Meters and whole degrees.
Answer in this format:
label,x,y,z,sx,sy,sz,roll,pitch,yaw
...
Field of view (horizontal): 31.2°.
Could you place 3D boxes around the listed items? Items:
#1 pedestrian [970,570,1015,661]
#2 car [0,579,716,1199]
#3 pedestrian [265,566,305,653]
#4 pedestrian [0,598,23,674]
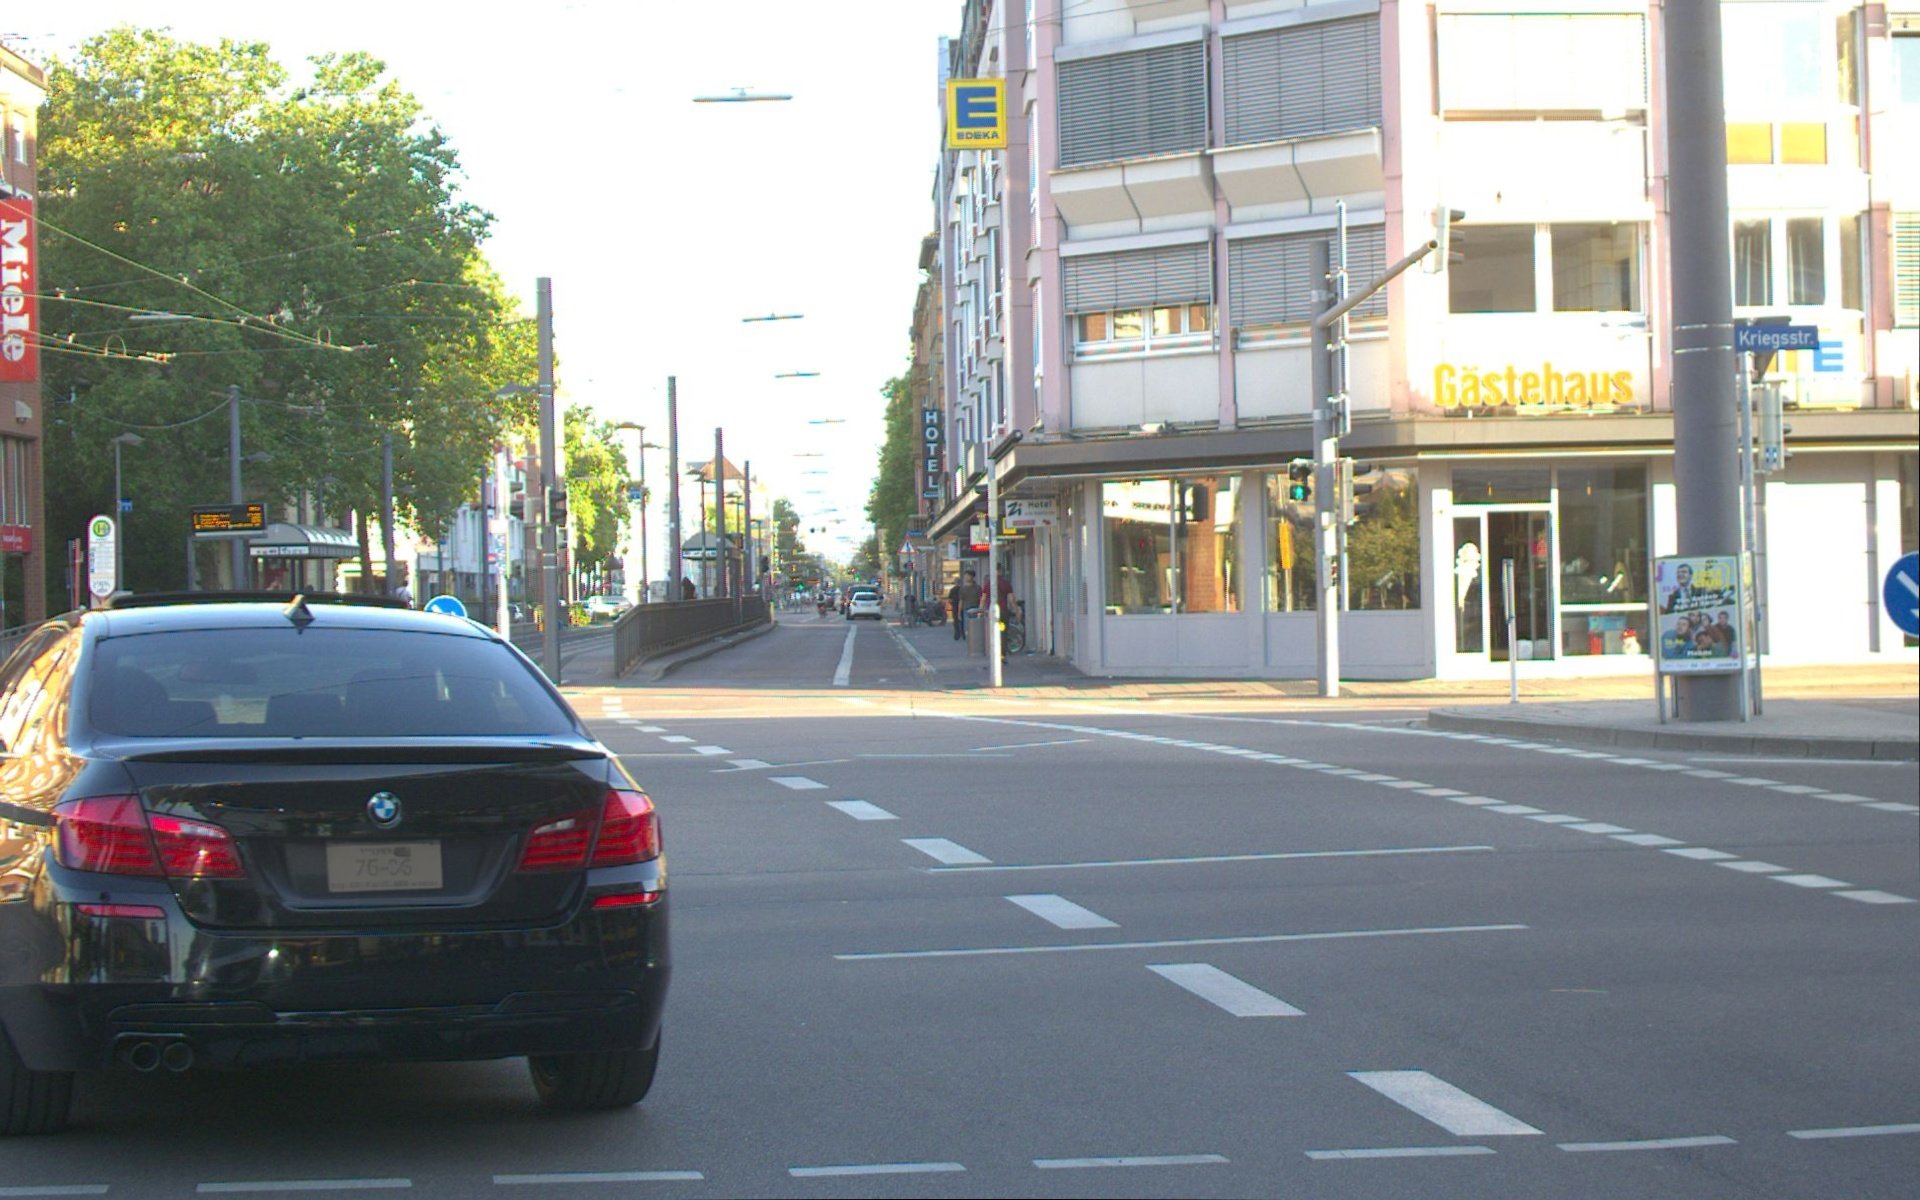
label,x,y,z,sx,sy,sz,roll,pitch,yaw
pedestrian,0.568,0.263,59.952,0.705,1.543,0.907,0,3,-4
car,-2.200,0.697,10.515,1.840,1.490,4.293,1,0,-19
pedestrian,-15.830,0.225,80.652,0.808,2.007,0.678,-1,0,-5
pedestrian,-25.853,0.975,92.441,1.084,2.007,1.085,-1,0,-6
